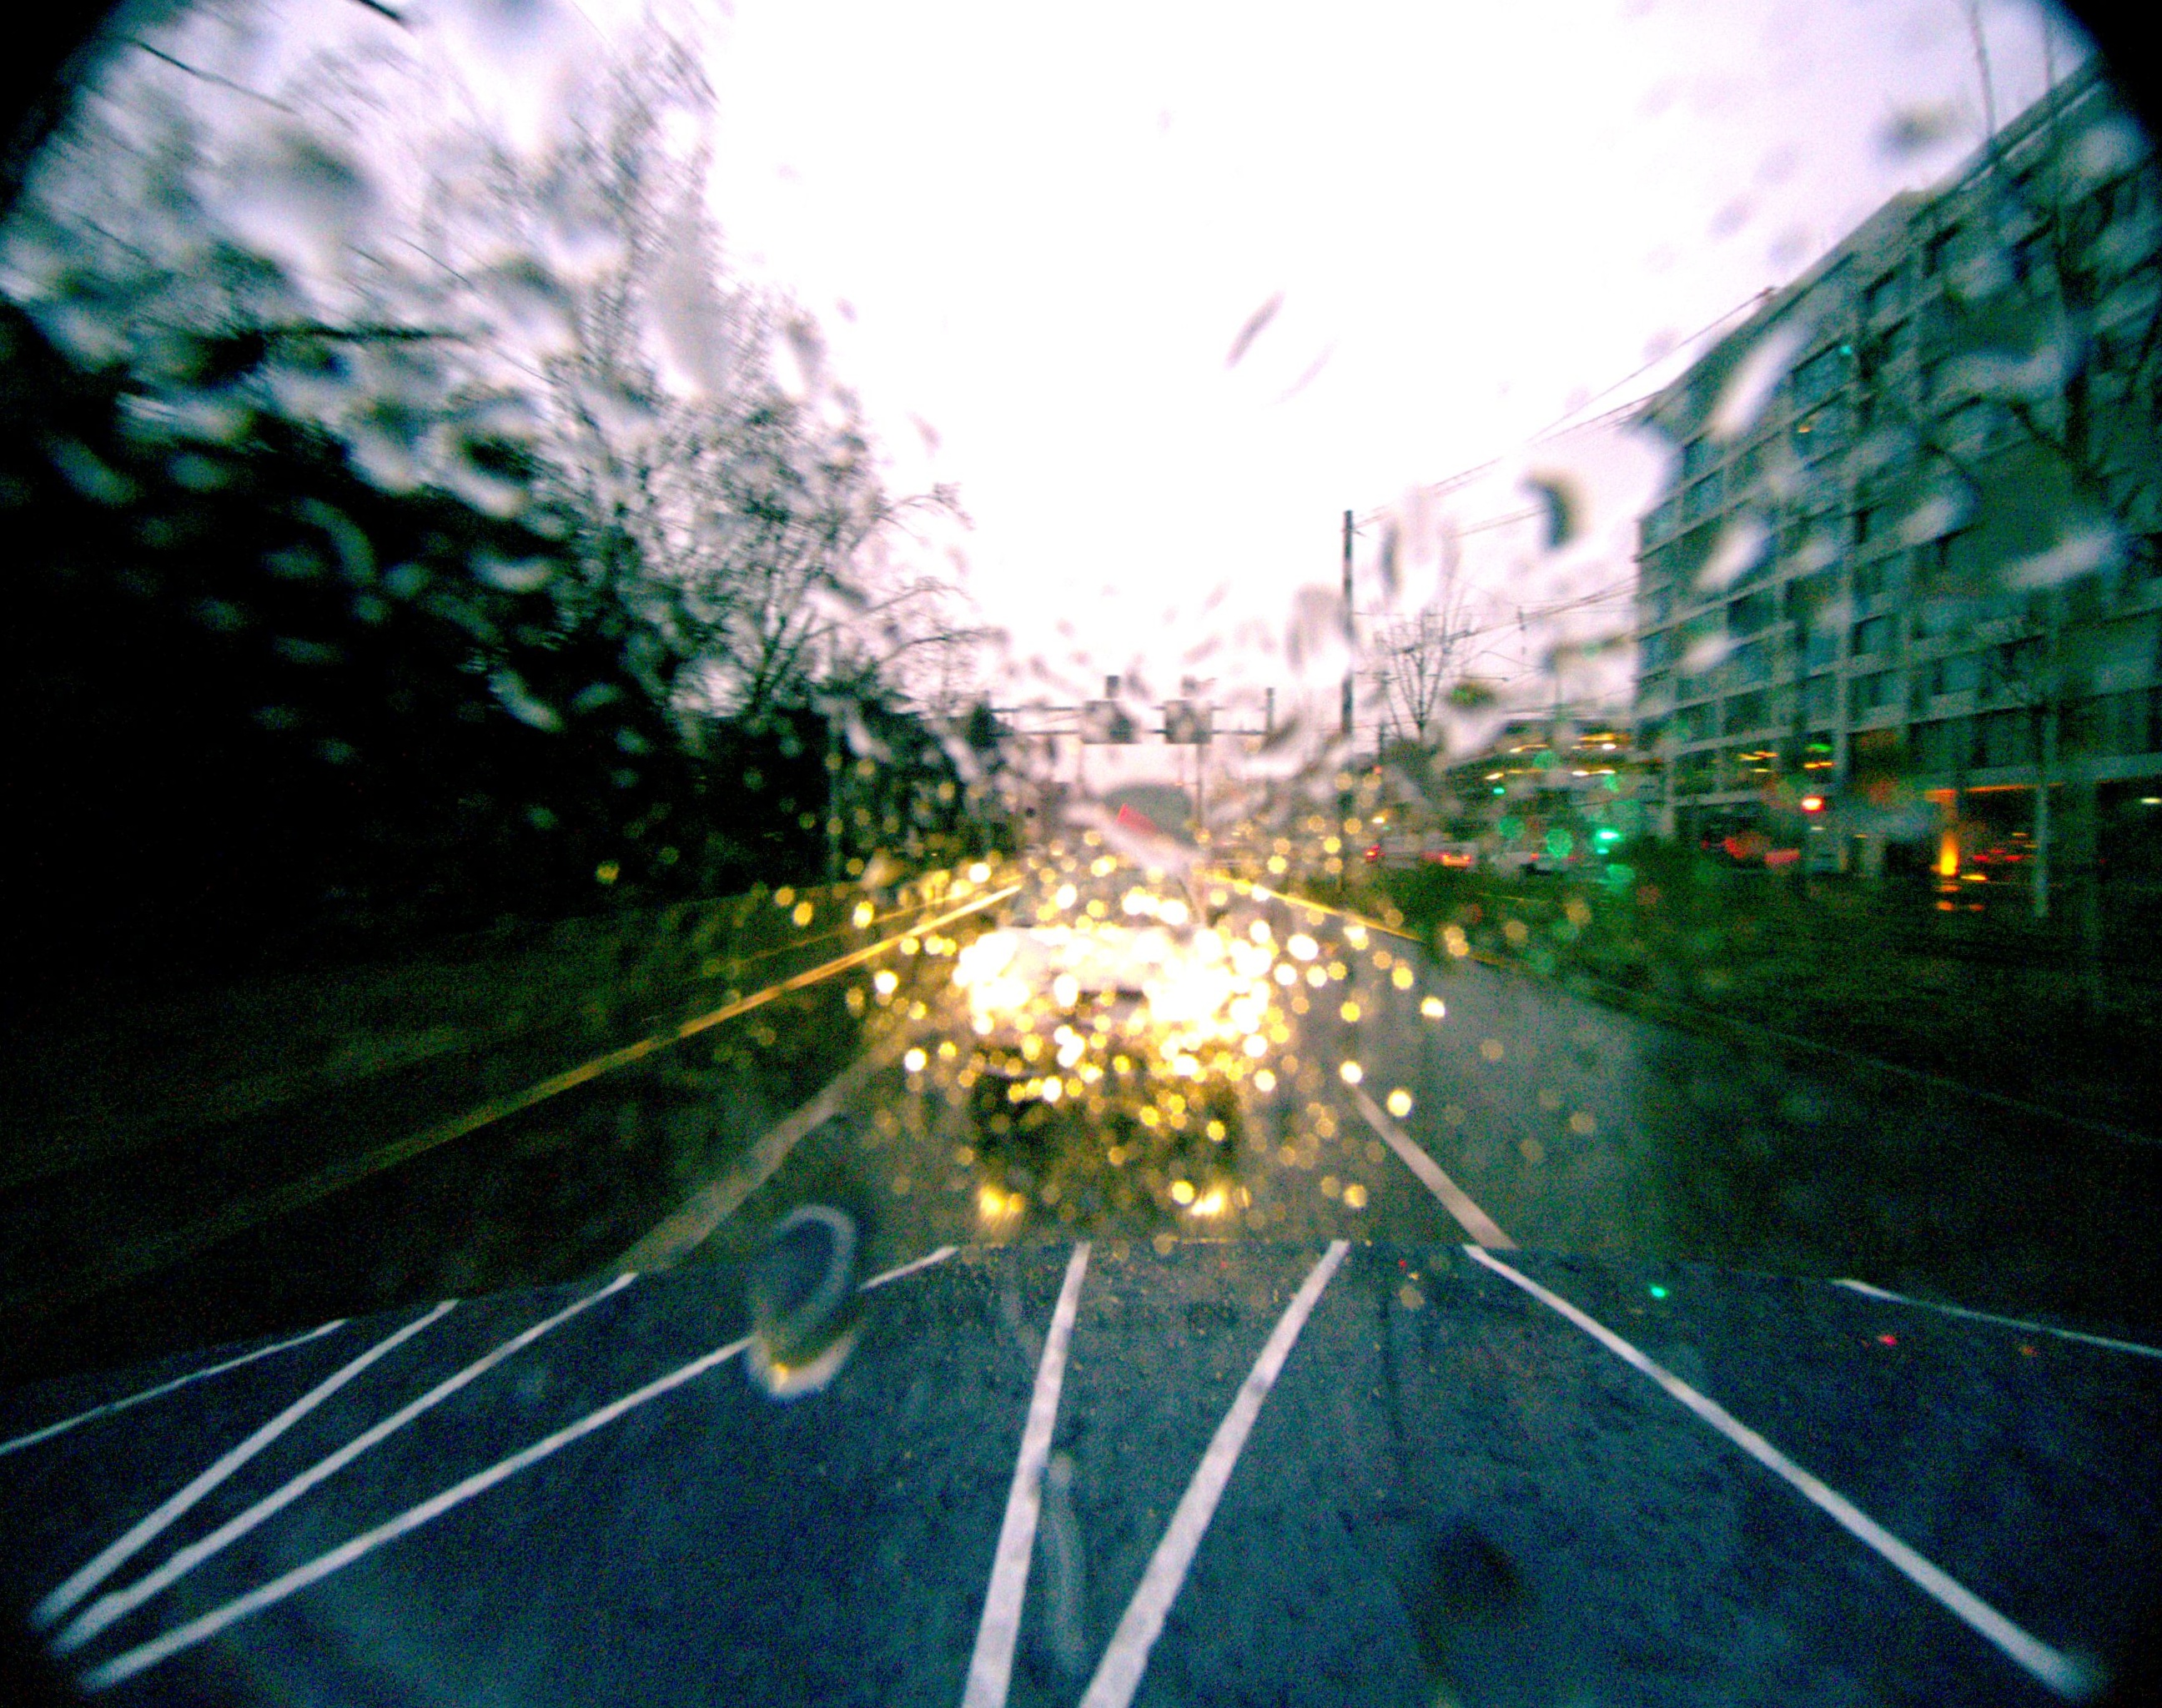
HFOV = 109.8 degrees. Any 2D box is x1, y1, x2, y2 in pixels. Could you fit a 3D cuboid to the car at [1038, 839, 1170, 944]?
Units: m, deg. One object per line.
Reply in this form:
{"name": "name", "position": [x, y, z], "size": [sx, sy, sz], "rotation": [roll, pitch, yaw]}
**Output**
{"name": "car", "position": [0.413, 0.562, 14.433], "size": [2.073, 1.618, 4.267], "rotation": [-2, 1, 1]}

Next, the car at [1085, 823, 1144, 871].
{"name": "car", "position": [1.261, -0.283, 28.633], "size": [1.998, 1.618, 4.268], "rotation": [-2, 1, 3]}

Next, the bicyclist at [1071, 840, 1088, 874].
{"name": "bicyclist", "position": [-0.093, 0.179, 49.750], "size": [0.968, 2.210, 0.934], "rotation": [-2, 2, -4]}

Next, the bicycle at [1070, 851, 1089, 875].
{"name": "bicycle", "position": [-0.105, 0.558, 49.888], "size": [0.968, 1.443, 3.387], "rotation": [-2, 2, -4]}

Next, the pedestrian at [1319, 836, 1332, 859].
{"name": "pedestrian", "position": [20.033, -0.534, 62.209], "size": [0.710, 1.795, 0.769], "rotation": [-2, 2, -14]}

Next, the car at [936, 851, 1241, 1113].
{"name": "car", "position": [0.148, 0.777, 6.789], "size": [1.885, 1.552, 4.171], "rotation": [0, 1, 3]}

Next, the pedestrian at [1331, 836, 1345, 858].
{"name": "pedestrian", "position": [20.935, -0.564, 61.887], "size": [0.710, 1.795, 0.769], "rotation": [-2, 2, -15]}

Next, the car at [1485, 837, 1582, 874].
{"name": "car", "position": [22.058, 0.026, 37.326], "size": [2.086, 1.659, 5.044], "rotation": [0, 1, 5]}

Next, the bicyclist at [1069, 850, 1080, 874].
{"name": "bicyclist", "position": [-0.433, 0.549, 53.875], "size": [0.692, 1.675, 0.592], "rotation": [-2, 2, -3]}

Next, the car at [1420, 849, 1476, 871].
{"name": "car", "position": [23.404, 0.372, 48.604], "size": [1.816, 1.300, 4.000], "rotation": [0, 1, 3]}

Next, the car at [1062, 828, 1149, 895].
{"name": "car", "position": [0.810, 0.137, 21.198], "size": [2.072, 1.618, 4.269], "rotation": [-2, 2, 6]}

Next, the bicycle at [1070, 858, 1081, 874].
{"name": "bicycle", "position": [-0.420, 0.872, 53.914], "size": [0.692, 1.036, 1.720], "rotation": [-2, 2, -2]}

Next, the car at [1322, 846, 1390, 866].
{"name": "car", "position": [20.398, 0.092, 56.387], "size": [4.245, 1.392, 2.116], "rotation": [1, 1, 37]}

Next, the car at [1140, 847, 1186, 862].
{"name": "car", "position": [7.328, 0.031, 67.655], "size": [3.994, 1.267, 1.818], "rotation": [0, 1, 7]}
